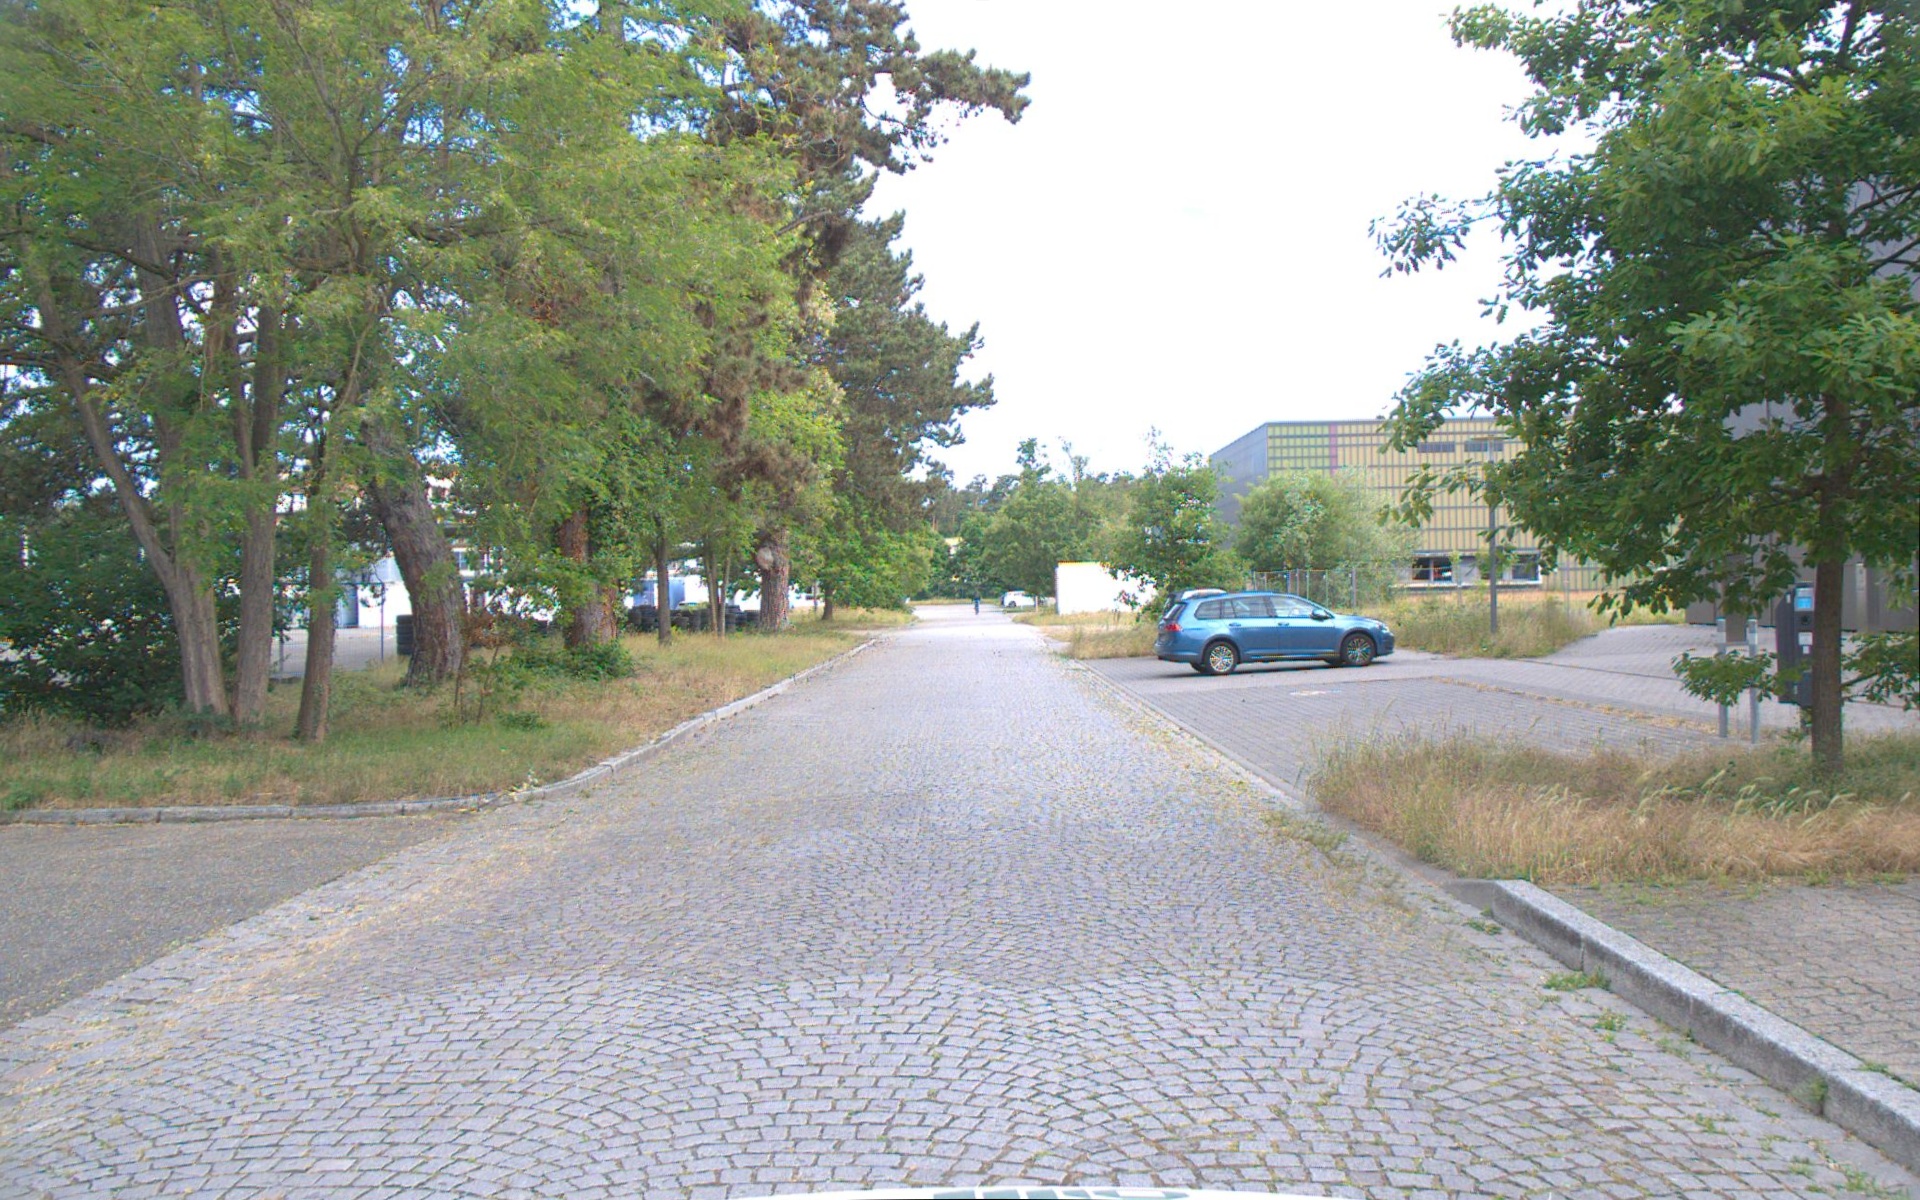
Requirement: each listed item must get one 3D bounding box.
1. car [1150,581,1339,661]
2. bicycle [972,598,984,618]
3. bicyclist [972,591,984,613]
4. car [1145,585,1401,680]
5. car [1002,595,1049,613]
[{"bbox_3d":[6.635,0.481,38.869,4.025,1.599,1.764,-3,0,-2],"label":"car"},{"bbox_3d":[1.328,0.557,122.328,0.807,1.400,2.042,-1,1,-1],"label":"bicycle"},{"bbox_3d":[1.323,0.124,122.339,0.879,1.569,0.868,-1,1,-1],"label":"bicyclist"},{"bbox_3d":[5.879,0.595,31.415,4.391,1.488,1.934,-3,0,-2],"label":"car"},{"bbox_3d":[5.938,0.353,151.236,4.232,1.576,2.000,-2,0,1],"label":"car"}]
